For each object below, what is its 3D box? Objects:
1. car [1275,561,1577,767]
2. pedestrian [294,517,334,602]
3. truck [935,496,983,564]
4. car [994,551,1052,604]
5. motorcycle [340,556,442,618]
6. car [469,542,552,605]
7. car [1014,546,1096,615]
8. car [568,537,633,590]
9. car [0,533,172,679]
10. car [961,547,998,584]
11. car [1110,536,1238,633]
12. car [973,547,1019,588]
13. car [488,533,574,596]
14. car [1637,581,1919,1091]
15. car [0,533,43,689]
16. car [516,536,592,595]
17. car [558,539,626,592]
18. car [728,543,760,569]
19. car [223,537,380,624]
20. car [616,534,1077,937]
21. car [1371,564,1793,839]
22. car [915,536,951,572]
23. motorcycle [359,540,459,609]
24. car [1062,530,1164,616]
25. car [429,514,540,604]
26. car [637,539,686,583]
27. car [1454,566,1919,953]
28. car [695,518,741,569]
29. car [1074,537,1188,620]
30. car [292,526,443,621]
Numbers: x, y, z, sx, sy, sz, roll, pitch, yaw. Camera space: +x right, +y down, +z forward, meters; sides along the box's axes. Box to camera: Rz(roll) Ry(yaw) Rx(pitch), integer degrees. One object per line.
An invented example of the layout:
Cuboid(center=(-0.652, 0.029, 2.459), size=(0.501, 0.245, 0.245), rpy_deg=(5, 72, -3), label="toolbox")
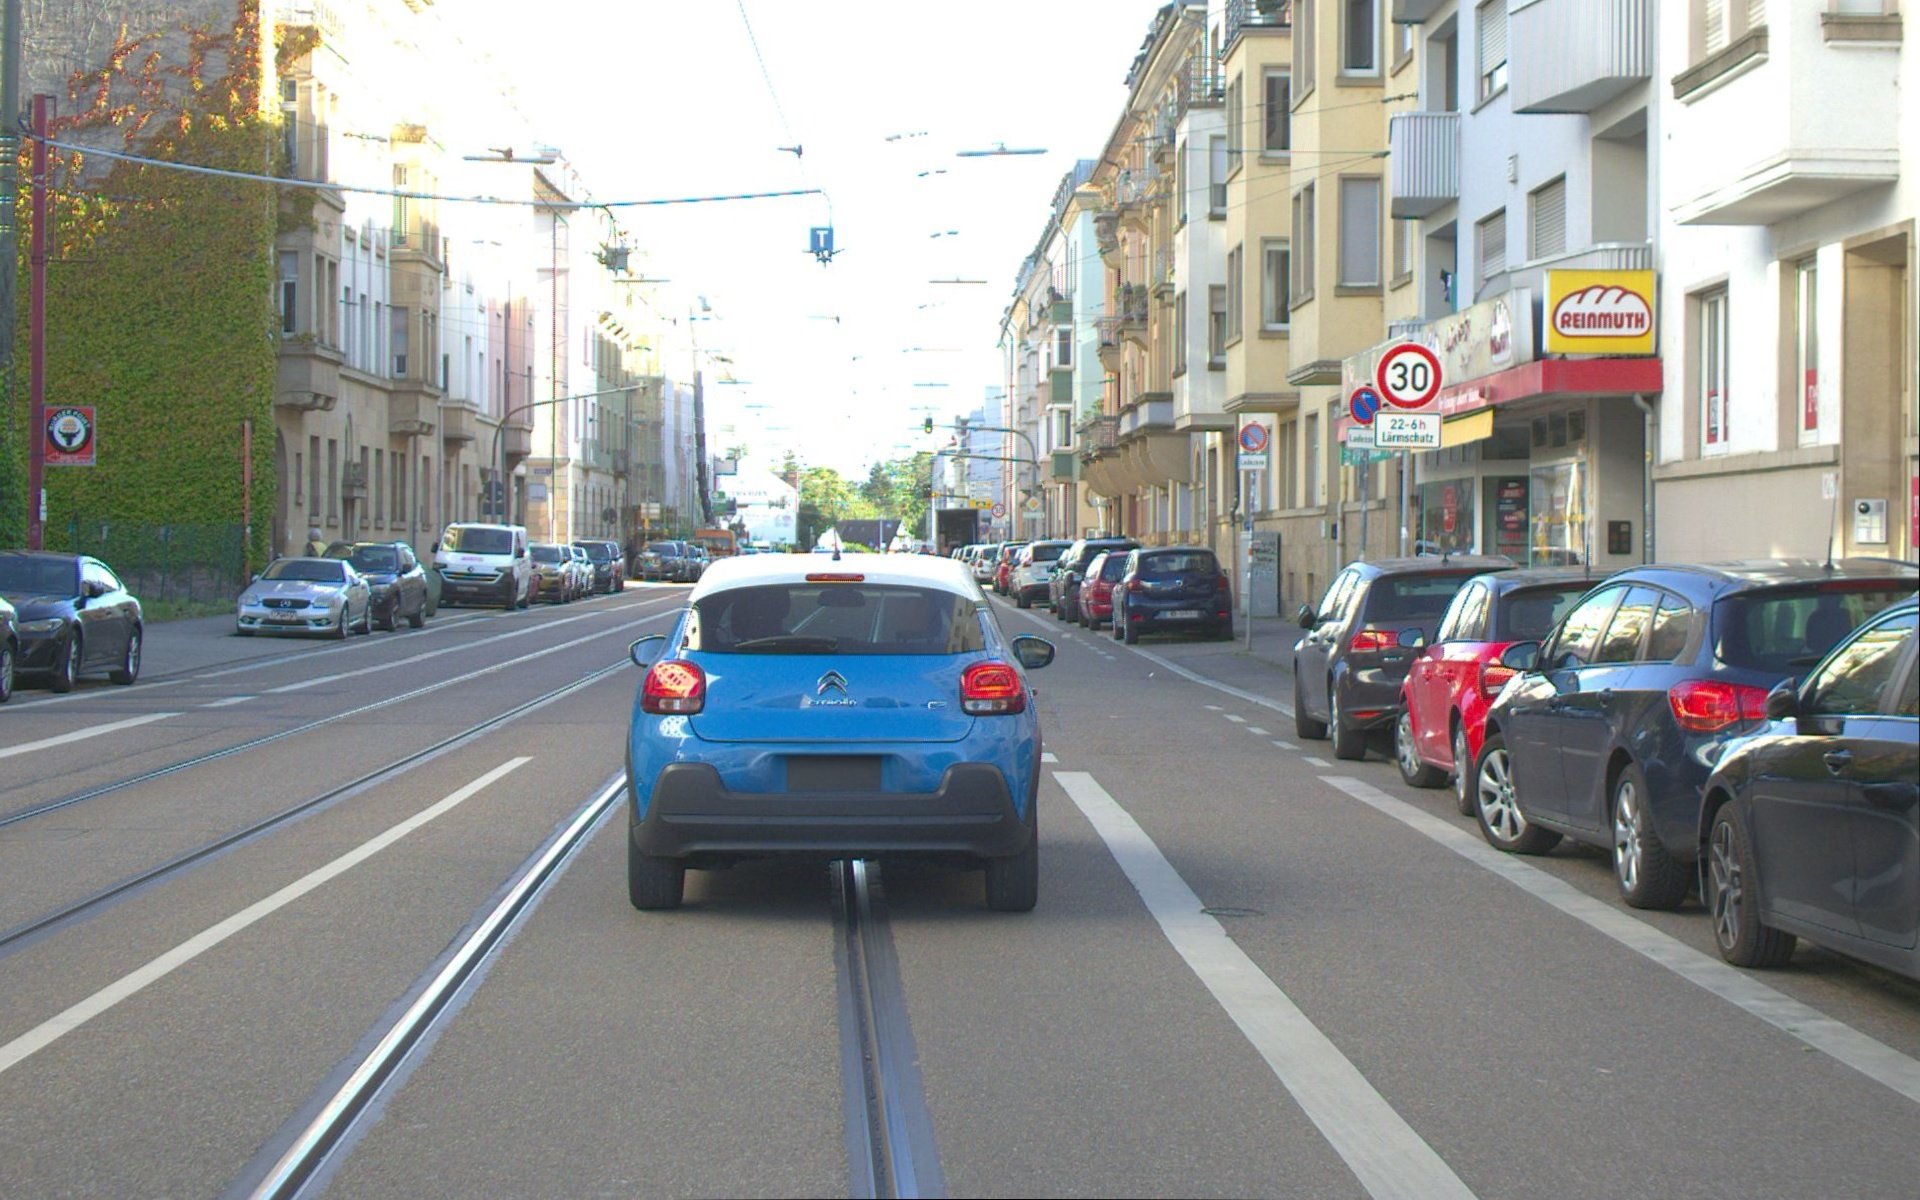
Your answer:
Cuboid(center=(3.503, 0.428, 26.542), size=(1.710, 1.402, 4.358), rpy_deg=(-2, 1, 0), label="car")
Cuboid(center=(-13.272, -0.832, 70.652), size=(0.679, 1.718, 0.616), rpy_deg=(1, 1, -1), label="pedestrian")
Cuboid(center=(-0.039, -4.267, 212.350), size=(2.853, 4.069, 11.271), rpy_deg=(0, 1, 0), label="truck")
Cuboid(center=(1.949, -0.719, 107.625), size=(1.753, 1.589, 3.730), rpy_deg=(1, 1, 0), label="car")
Cuboid(center=(-11.039, -0.258, 66.755), size=(0.740, 1.167, 2.176), rpy_deg=(2, 1, 29), label="motorcycle")
Cuboid(center=(-11.182, -0.678, 85.672), size=(1.602, 1.467, 3.646), rpy_deg=(3, 1, -1), label="car")
Cuboid(center=(2.361, -0.504, 86.470), size=(1.843, 1.685, 4.505), rpy_deg=(1, 1, -1), label="car")
Cuboid(center=(-11.558, -1.194, 110.701), size=(1.783, 1.601, 4.398), rpy_deg=(3, 1, -3), label="car")
Cuboid(center=(-10.123, 0.019, 37.848), size=(1.783, 1.441, 4.842), rpy_deg=(3, 1, -1), label="car")
Cuboid(center=(0.974, -1.726, 170.550), size=(1.730, 1.821, 4.687), rpy_deg=(0, 1, -1), label="car")
Cuboid(center=(3.385, -0.262, 54.965), size=(1.718, 1.486, 4.002), rpy_deg=(0, 1, -1), label="car")
Cuboid(center=(1.484, -1.347, 141.439), size=(1.783, 1.626, 4.000), rpy_deg=(0, 1, -1), label="car")
Cuboid(center=(-11.246, -0.946, 90.375), size=(1.783, 1.518, 4.360), rpy_deg=(3, 1, -2), label="car")
Cuboid(center=(3.777, 0.707, 11.494), size=(1.857, 1.502, 4.507), rpy_deg=(-2, 1, -3), label="car")
Cuboid(center=(-9.938, 0.083, 31.664), size=(1.783, 1.476, 4.700), rpy_deg=(3, 1, -2), label="car")
Cuboid(center=(-11.261, -0.968, 95.541), size=(1.771, 1.541, 4.366), rpy_deg=(3, 1, -3), label="car")
Cuboid(center=(-11.391, -1.076, 106.554), size=(1.783, 1.547, 3.019), rpy_deg=(3, 1, -1), label="car")
Cuboid(center=(-13.968, -2.843, 222.716), size=(1.826, 1.626, 4.849), rpy_deg=(0, 1, -1), label="car")
Cuboid(center=(-10.801, -0.338, 56.646), size=(1.783, 1.309, 4.221), rpy_deg=(3, 1, -1), label="car")
Cuboid(center=(-0.471, 0.503, 15.433), size=(1.735, 1.502, 3.993), rpy_deg=(3, 1, -1), label="car")
Cuboid(center=(3.718, 0.548, 21.228), size=(1.857, 1.468, 3.989), rpy_deg=(-2, 1, 0), label="car")
Cuboid(center=(-1.465, -2.470, 183.601), size=(1.821, 1.888, 4.000), rpy_deg=(1, 1, -1), label="car")
Cuboid(center=(-10.999, -0.505, 68.659), size=(0.885, 1.346, 1.954), rpy_deg=(2, 1, 31), label="motorcycle")
Cuboid(center=(3.070, -0.559, 69.611), size=(1.859, 1.660, 4.562), rpy_deg=(1, 1, 0), label="car")
Cuboid(center=(-11.044, -0.973, 80.149), size=(1.973, 1.942, 5.252), rpy_deg=(3, 1, -2), label="car")
Cuboid(center=(-12.268, -1.625, 141.588), size=(1.783, 1.684, 4.668), rpy_deg=(3, 1, -3), label="car")
Cuboid(center=(3.540, 0.630, 16.019), size=(1.857, 1.502, 4.096), rpy_deg=(-2, 1, 0), label="car")
Cuboid(center=(-12.349, -2.870, 175.588), size=(2.144, 2.467, 4.981), rpy_deg=(3, 1, -3), label="car")
Cuboid(center=(3.116, -0.418, 63.415), size=(1.859, 1.450, 4.710), rpy_deg=(1, 1, 0), label="car")
Cuboid(center=(-10.634, -0.491, 62.004), size=(1.783, 1.560, 4.610), rpy_deg=(3, 1, 1), label="car")
